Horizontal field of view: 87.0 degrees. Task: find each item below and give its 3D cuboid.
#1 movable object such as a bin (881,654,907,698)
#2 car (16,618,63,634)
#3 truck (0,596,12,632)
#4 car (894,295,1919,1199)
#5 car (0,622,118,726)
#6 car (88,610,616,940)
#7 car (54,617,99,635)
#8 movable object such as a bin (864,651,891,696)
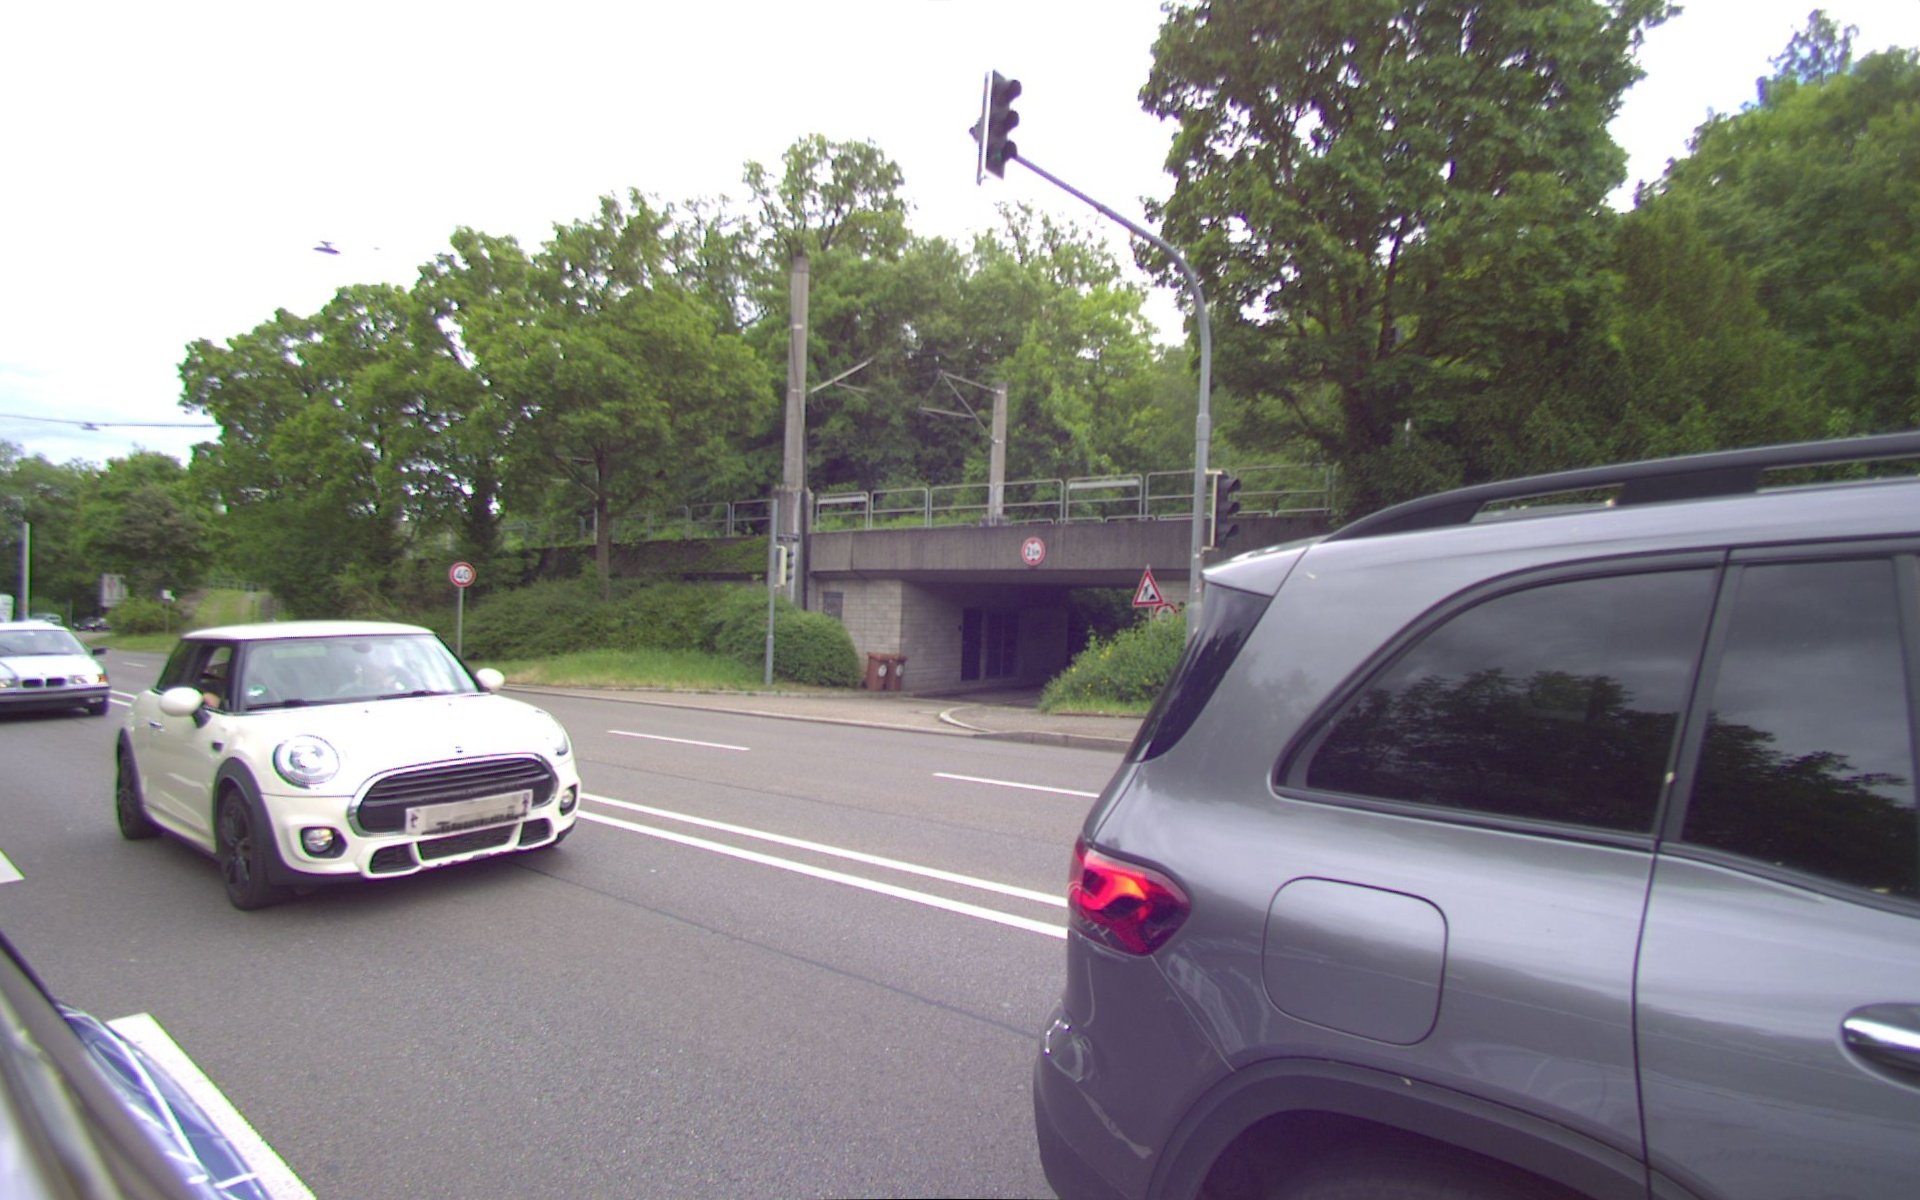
[{"bbox_3d":[-1.655,1.899,25.425,0.503,1.071,0.414,-1,-3,36],"label":"movable object such as a bin"},{"bbox_3d":[-89.661,2.557,98.595,1.727,1.372,4.022,4,-4,-17],"label":"car"},{"bbox_3d":[-87.086,1.137,89.298,2.164,3.180,6.670,2,-3,-17],"label":"truck"},{"bbox_3d":[2.140,0.548,1.033,4.353,1.664,1.831,-1,-1,40],"label":"car"},{"bbox_3d":[-14.410,1.045,15.465,4.179,1.401,1.643,-1,-1,40],"label":"car"},{"bbox_3d":[-3.896,0.794,6.253,3.729,1.434,1.667,-1,-1,40],"label":"car"},{"bbox_3d":[-88.163,2.622,101.032,1.823,1.664,4.371,2,-3,-19],"label":"car"},{"bbox_3d":[-2.015,1.805,24.857,0.503,1.071,0.414,-1,-3,36],"label":"movable object such as a bin"}]
